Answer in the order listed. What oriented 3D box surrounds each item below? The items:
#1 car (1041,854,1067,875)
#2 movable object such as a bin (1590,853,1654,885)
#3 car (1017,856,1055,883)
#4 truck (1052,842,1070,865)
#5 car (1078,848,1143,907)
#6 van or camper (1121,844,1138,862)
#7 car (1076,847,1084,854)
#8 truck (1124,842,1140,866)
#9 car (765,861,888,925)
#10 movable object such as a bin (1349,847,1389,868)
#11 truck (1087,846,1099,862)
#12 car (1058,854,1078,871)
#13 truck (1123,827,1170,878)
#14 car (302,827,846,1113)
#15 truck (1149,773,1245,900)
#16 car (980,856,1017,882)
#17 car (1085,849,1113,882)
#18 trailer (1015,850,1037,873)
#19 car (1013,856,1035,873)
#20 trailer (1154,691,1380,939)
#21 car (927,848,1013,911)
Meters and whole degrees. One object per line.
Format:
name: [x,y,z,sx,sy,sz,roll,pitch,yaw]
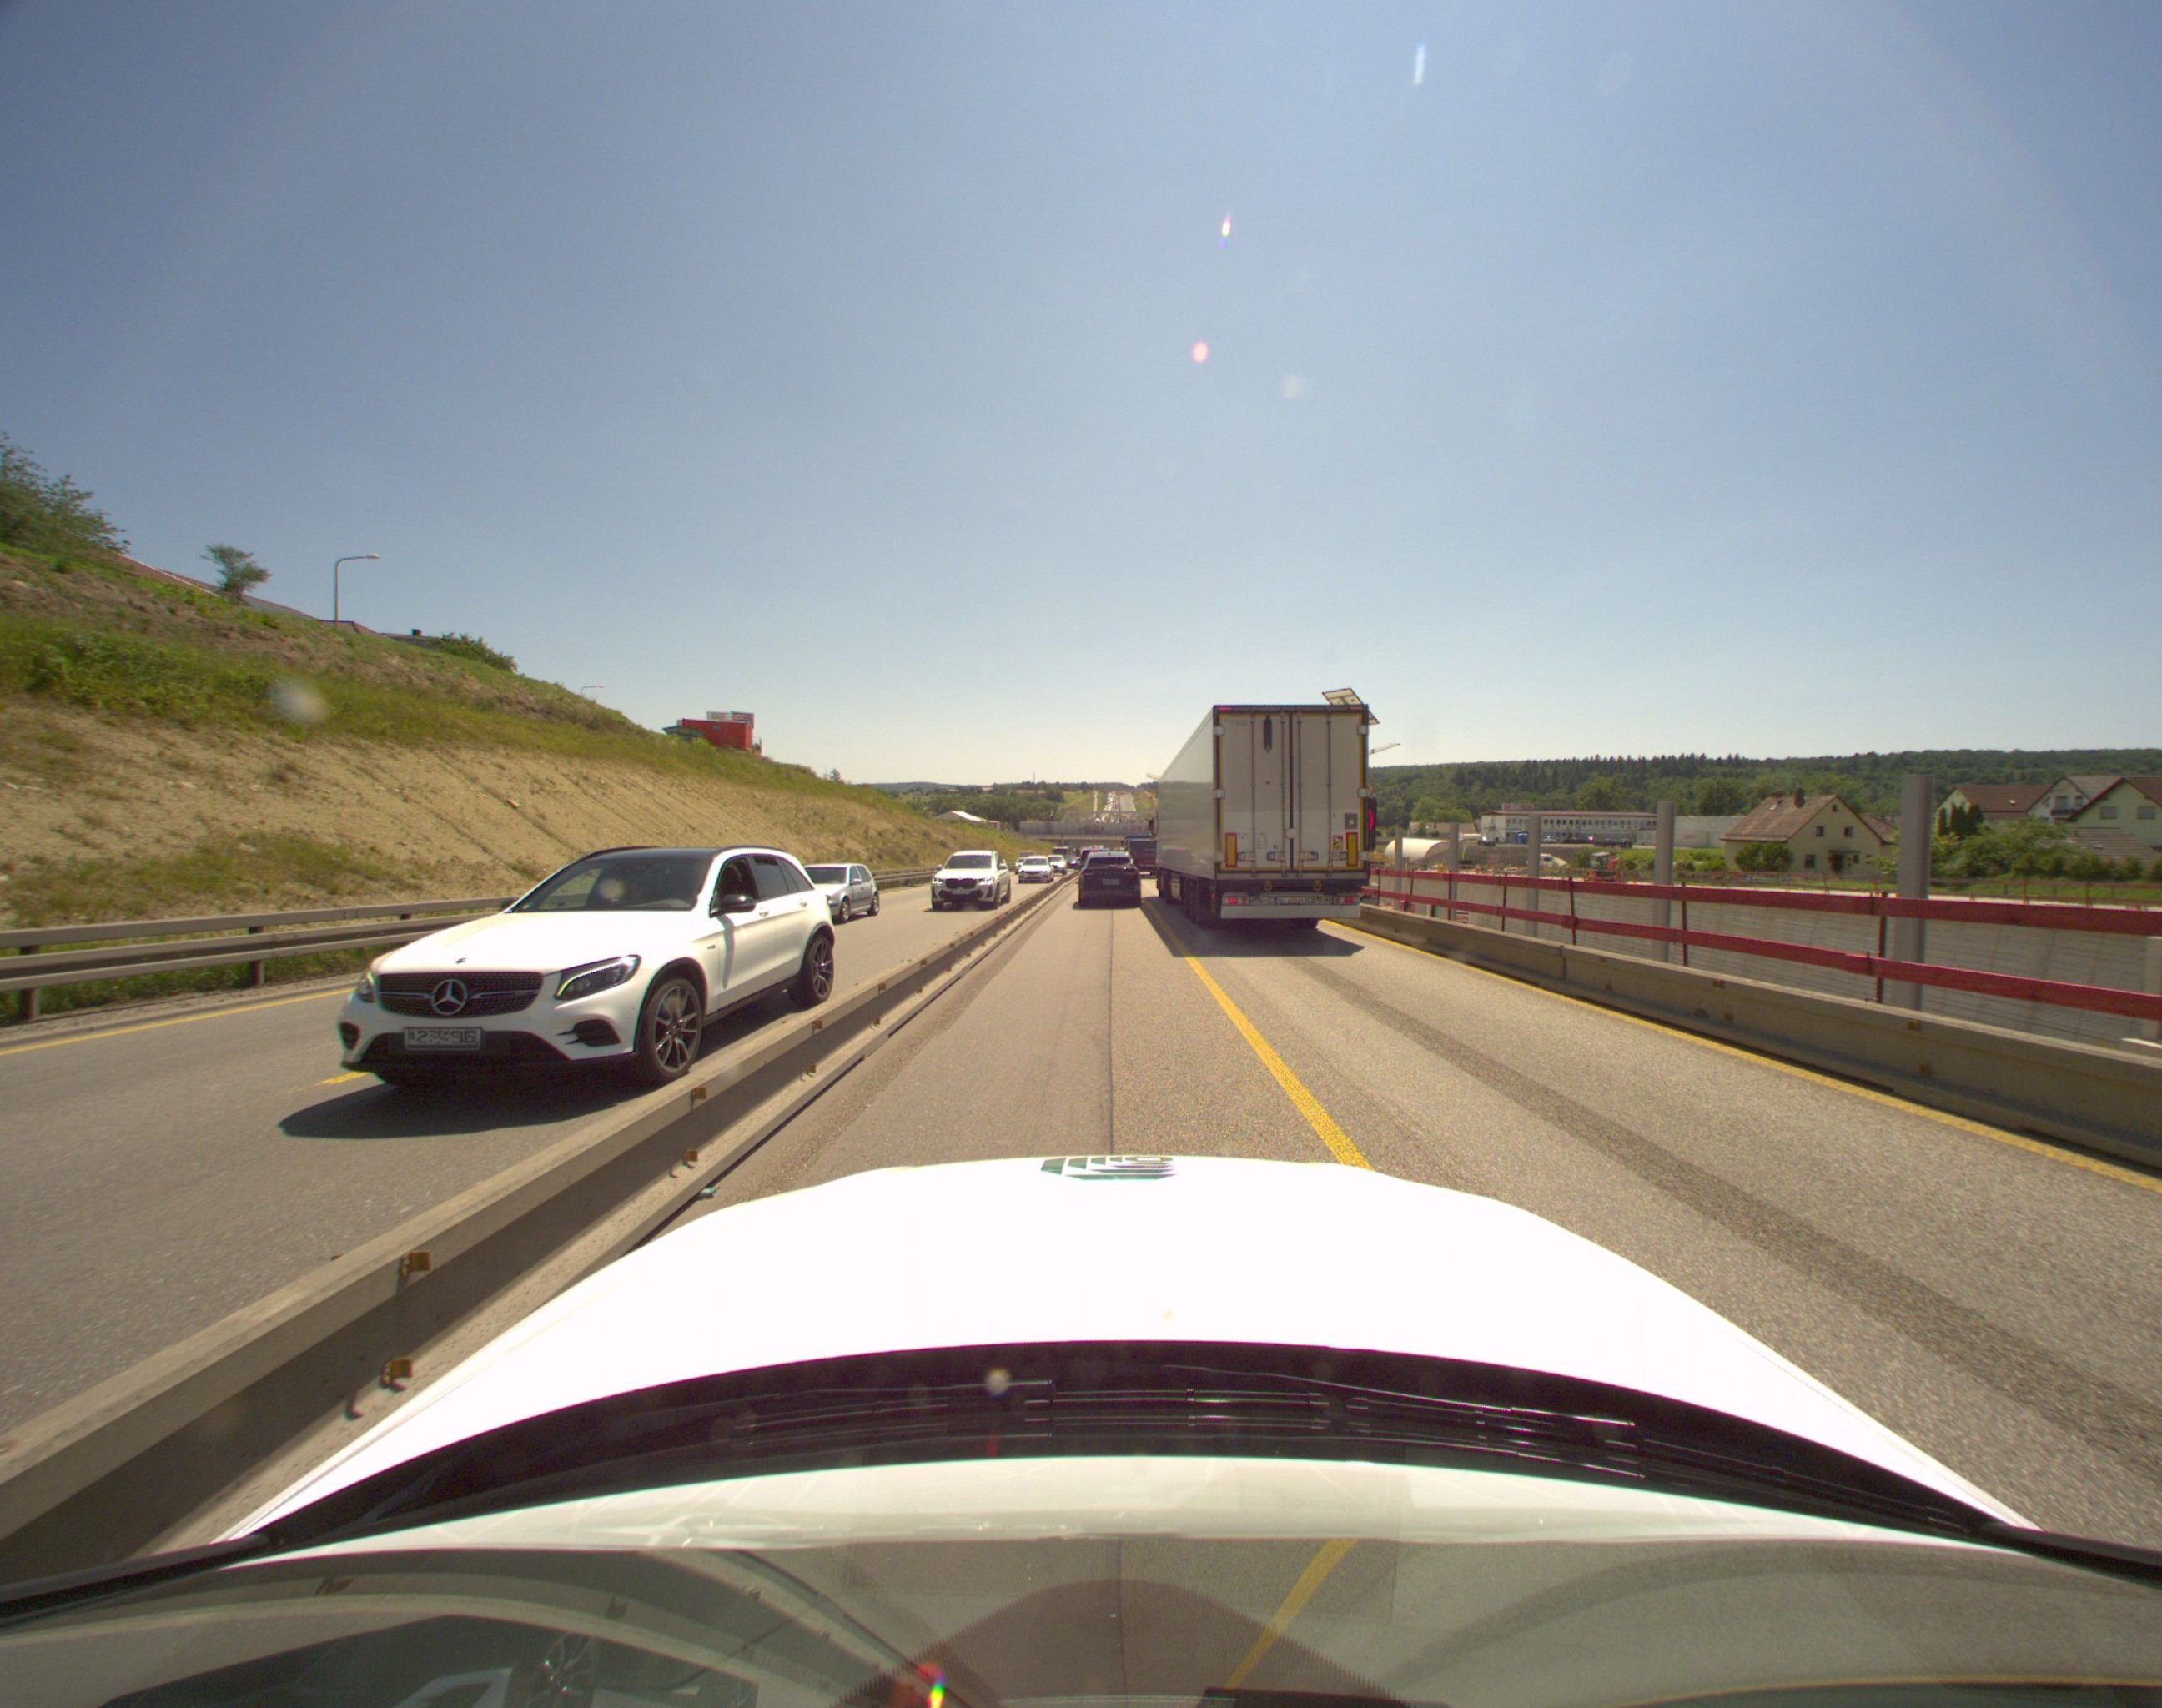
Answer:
car: [-2.099,0.818,63.547,1.809,1.592,4.291,0,0,1]
movable object such as a bin: [38.920,1.031,58.667,1.985,2.239,4.154,0,0,2]
car: [-2.478,0.840,45.930,1.800,1.477,4.281,0,0,1]
truck: [-3.308,-0.082,136.757,2.577,3.723,9.336,-1,0,2]
car: [0.870,0.645,24.369,1.793,1.620,3.299,-1,0,2]
van or camper: [6.061,-0.119,102.552,1.986,2.244,4.002,1,0,2]
car: [-0.278,-0.798,203.162,1.726,1.794,3.581,0,0,1]
truck: [8.693,-0.016,139.772,2.508,3.959,7.602,1,0,1]
car: [-6.134,0.887,20.107,1.695,1.378,3.967,0,0,1]
movable object such as a bin: [41.579,0.436,117.990,2.876,2.909,9.485,0,0,3]
truck: [3.022,0.125,201.900,2.757,3.884,4.966,0,0,2]
car: [-1.353,0.858,86.824,1.883,1.708,4.564,-1,0,2]
truck: [4.436,-0.076,57.698,2.803,3.135,12.845,-1,0,2]
car: [-3.587,0.676,6.925,1.806,1.638,4.363,-1,0,1]
truck: [3.929,-0.551,28.724,2.766,4.058,4.906,-1,-1,1]
car: [-5.389,0.958,53.482,1.892,1.584,4.515,0,0,1]
car: [1.030,0.617,45.457,1.469,1.795,3.300,-1,0,3]
trailer: [-5.005,0.635,74.500,1.642,2.025,4.268,-1,0,-1]
car: [-4.977,0.919,71.227,1.642,1.415,3.999,-1,0,-1]
trailer: [3.696,-0.598,20.494,2.791,4.058,14.121,-1,0,2]
car: [-3.222,0.696,24.582,1.884,1.708,4.562,0,0,1]
